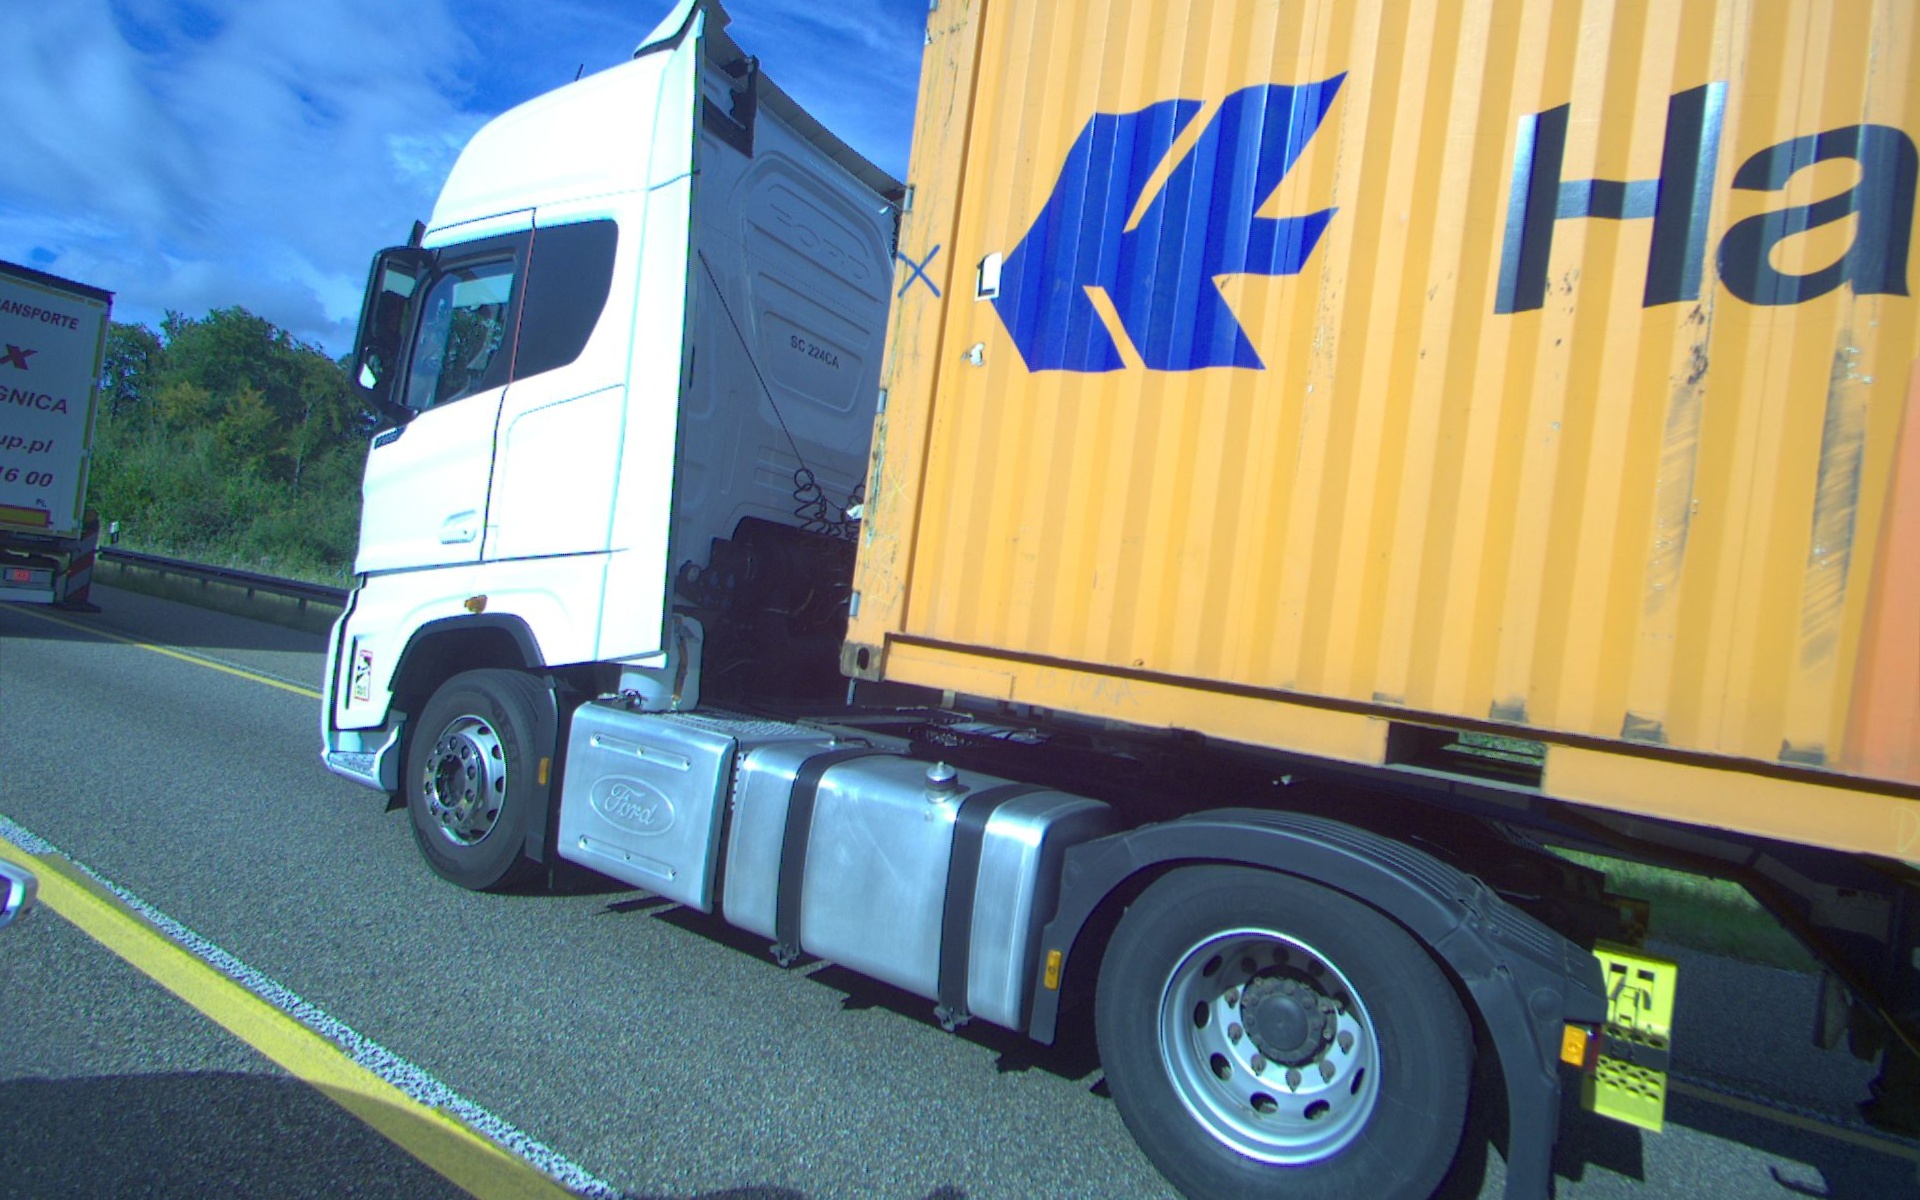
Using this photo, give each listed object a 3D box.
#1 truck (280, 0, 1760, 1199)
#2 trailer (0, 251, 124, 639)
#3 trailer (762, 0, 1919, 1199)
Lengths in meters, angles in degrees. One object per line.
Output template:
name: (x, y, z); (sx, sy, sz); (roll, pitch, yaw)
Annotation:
truck: (-0.190, -0.358, 4.713); (5.694, 3.825, 2.499); (6, -1, 32)
trailer: (-16.048, -2.341, 13.680); (13.193, 4.015, 2.705); (7, -1, 31)
trailer: (5.253, 0.232, 1.354); (11.934, 3.818, 2.476); (7, -1, 31)
